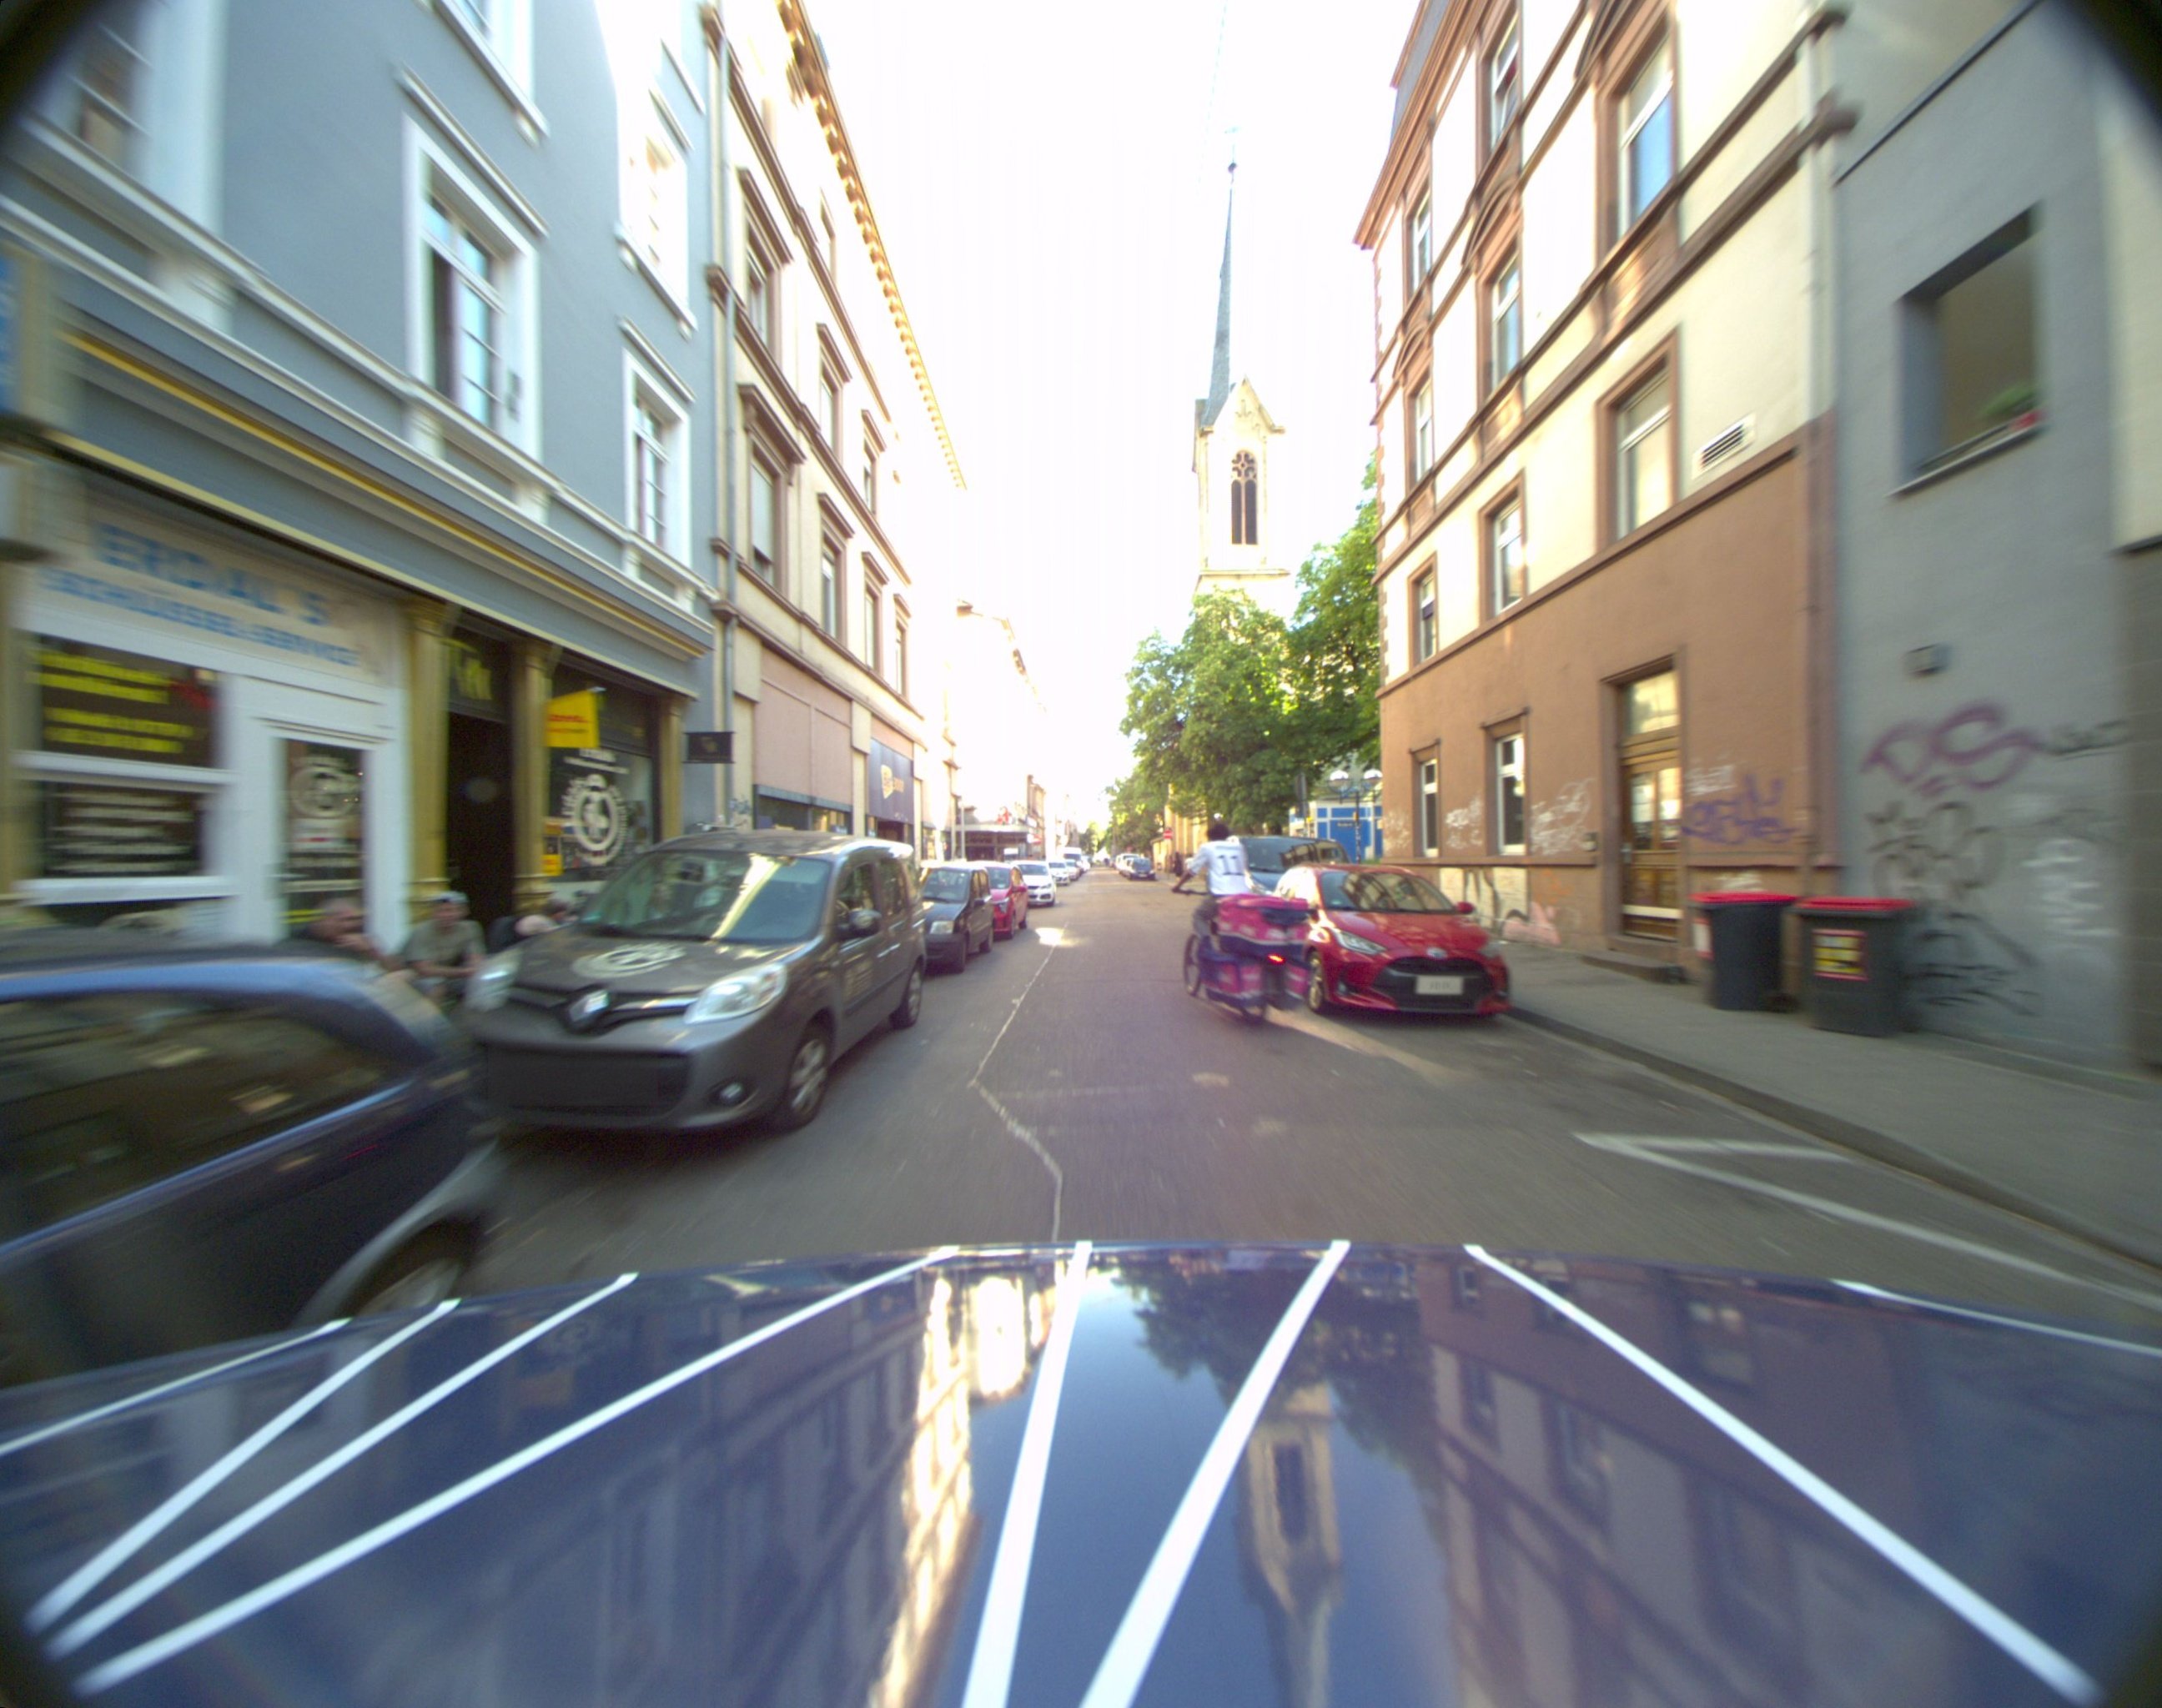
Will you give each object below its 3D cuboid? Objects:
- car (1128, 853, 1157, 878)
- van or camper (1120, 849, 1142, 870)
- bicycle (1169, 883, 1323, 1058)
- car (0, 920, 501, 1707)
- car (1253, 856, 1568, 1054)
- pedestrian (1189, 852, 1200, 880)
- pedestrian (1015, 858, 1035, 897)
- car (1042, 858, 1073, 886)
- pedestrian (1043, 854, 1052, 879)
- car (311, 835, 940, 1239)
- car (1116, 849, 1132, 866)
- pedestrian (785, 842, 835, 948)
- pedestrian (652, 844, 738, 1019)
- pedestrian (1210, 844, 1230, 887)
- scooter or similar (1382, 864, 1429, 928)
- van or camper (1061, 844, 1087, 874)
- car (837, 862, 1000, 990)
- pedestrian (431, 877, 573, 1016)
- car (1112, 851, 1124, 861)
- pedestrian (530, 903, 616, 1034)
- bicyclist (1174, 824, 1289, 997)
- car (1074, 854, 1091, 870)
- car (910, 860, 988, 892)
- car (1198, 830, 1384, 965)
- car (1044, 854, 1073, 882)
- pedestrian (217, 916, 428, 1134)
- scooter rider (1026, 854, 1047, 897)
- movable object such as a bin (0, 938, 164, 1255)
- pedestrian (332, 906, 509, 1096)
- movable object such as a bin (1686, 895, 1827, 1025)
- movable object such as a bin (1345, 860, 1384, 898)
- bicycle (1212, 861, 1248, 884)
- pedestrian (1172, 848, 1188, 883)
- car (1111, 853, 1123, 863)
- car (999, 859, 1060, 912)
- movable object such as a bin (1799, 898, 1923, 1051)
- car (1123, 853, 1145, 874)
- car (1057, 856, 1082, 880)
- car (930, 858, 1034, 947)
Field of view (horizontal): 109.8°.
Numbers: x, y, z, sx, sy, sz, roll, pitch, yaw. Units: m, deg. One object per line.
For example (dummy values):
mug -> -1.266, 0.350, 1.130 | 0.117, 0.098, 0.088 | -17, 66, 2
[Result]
car -> 4.247, 0.762, 53.318 | 1.798, 1.543, 3.834 | -2, 1, 2
van or camper -> 4.859, 0.526, 74.410 | 1.984, 1.939, 4.563 | -2, 0, 2
bicycle -> 1.471, 0.986, 7.385 | 0.980, 1.306, 2.555 | 0, 0, 1
car -> -2.557, 1.002, 0.497 | 1.556, 1.502, 3.611 | -2, 1, -1
car -> 3.150, 0.839, 8.207 | 1.755, 1.513, 3.869 | 2, 1, 2
pedestrian -> 6.673, 0.686, 44.718 | 0.480, 1.584, 0.714 | -2, 1, -1
pedestrian -> -2.366, 0.985, 32.314 | 0.566, 1.629, 0.527 | -4, 2, -44
car -> -1.368, 1.008, 44.439 | 1.693, 1.454, 3.640 | -2, 1, -1
pedestrian -> -2.585, 0.925, 58.052 | 0.563, 1.883, 0.530 | -2, 1, 1
car -> -2.475, 0.818, 5.621 | 1.904, 1.783, 4.315 | -2, 1, 1
car -> 5.415, 0.427, 96.119 | 1.777, 2.128, 4.023 | -2, 0, 2
pedestrian -> -4.592, 0.673, 12.931 | 0.630, 1.730, 0.658 | -3, 1, -11
pedestrian -> -3.975, 0.771, 7.845 | 0.427, 1.730, 0.563 | -2, 1, 22
pedestrian -> 6.044, 0.483, 32.986 | 0.648, 1.823, 0.697 | -3, 1, 1
scooter or similar -> 6.615, 0.828, 15.517 | 0.348, 1.209, 1.391 | -2, 1, 1
van or camper -> -0.602, 0.417, 70.800 | 1.998, 2.617, 5.979 | -2, 1, 2
car -> -2.302, 0.953, 11.582 | 1.573, 1.548, 3.314 | 2, 1, 3
pedestrian -> -5.063, 0.784, 6.682 | 0.677, 1.118, 0.654 | -2, 1, 3
car -> 6.364, 0.396, 130.596 | 1.777, 1.614, 4.022 | -2, 0, 0
pedestrian -> -5.061, 1.125, 7.589 | 0.439, 1.215, 0.514 | -2, 1, 3
bicyclist -> 1.474, 0.531, 7.617 | 0.952, 1.618, 0.953 | 1, 1, 1
car -> 0.164, 0.878, 84.717 | 1.696, 1.615, 3.963 | -2, 0, 2
car -> -6.633, 1.106, 38.474 | 3.582, 1.477, 1.789 | -1, 1, 2
car -> 3.425, 0.637, 13.557 | 2.025, 1.868, 5.298 | -2, 0, 3
car -> -1.439, 0.889, 49.682 | 1.704, 1.641, 4.063 | -2, 1, 0
pedestrian -> -4.929, 1.082, 4.980 | 0.677, 1.269, 0.628 | -2, 1, 3
scooter rider -> -1.880, 0.882, 31.976 | 0.610, 1.768, 0.566 | -1, 2, 41
movable object such as a bin -> -4.828, 1.027, 3.375 | 0.764, 1.236, 0.580 | 0, 1, -1
pedestrian -> -4.896, 1.063, 5.675 | 0.677, 1.269, 0.654 | -2, 1, 3
movable object such as a bin -> 6.091, 0.935, 6.896 | 0.760, 1.060, 0.652 | -2, 1, 21
movable object such as a bin -> 8.566, 0.735, 22.997 | 0.872, 1.080, 0.745 | -2, 1, 2
bicycle -> 7.574, 0.938, 38.637 | 1.694, 1.059, 0.346 | -2, 1, 0
pedestrian -> 5.426, 0.620, 41.565 | 0.718, 1.862, 0.720 | -2, 1, 1
car -> 5.934, 0.621, 124.753 | 1.777, 1.614, 4.022 | -2, 0, 0
car -> -1.670, 0.999, 25.970 | 1.791, 1.507, 4.135 | -2, 1, -1
movable object such as a bin -> 6.168, 0.915, 6.009 | 0.731, 1.060, 0.505 | -3, 1, -30
car -> 4.429, 0.770, 63.839 | 1.724, 1.558, 4.000 | -2, 1, 2
car -> -0.773, 0.967, 54.614 | 1.558, 1.517, 4.201 | -2, 1, 2
car -> -1.974, 0.928, 16.107 | 1.610, 1.563, 3.553 | -2, 1, 1
